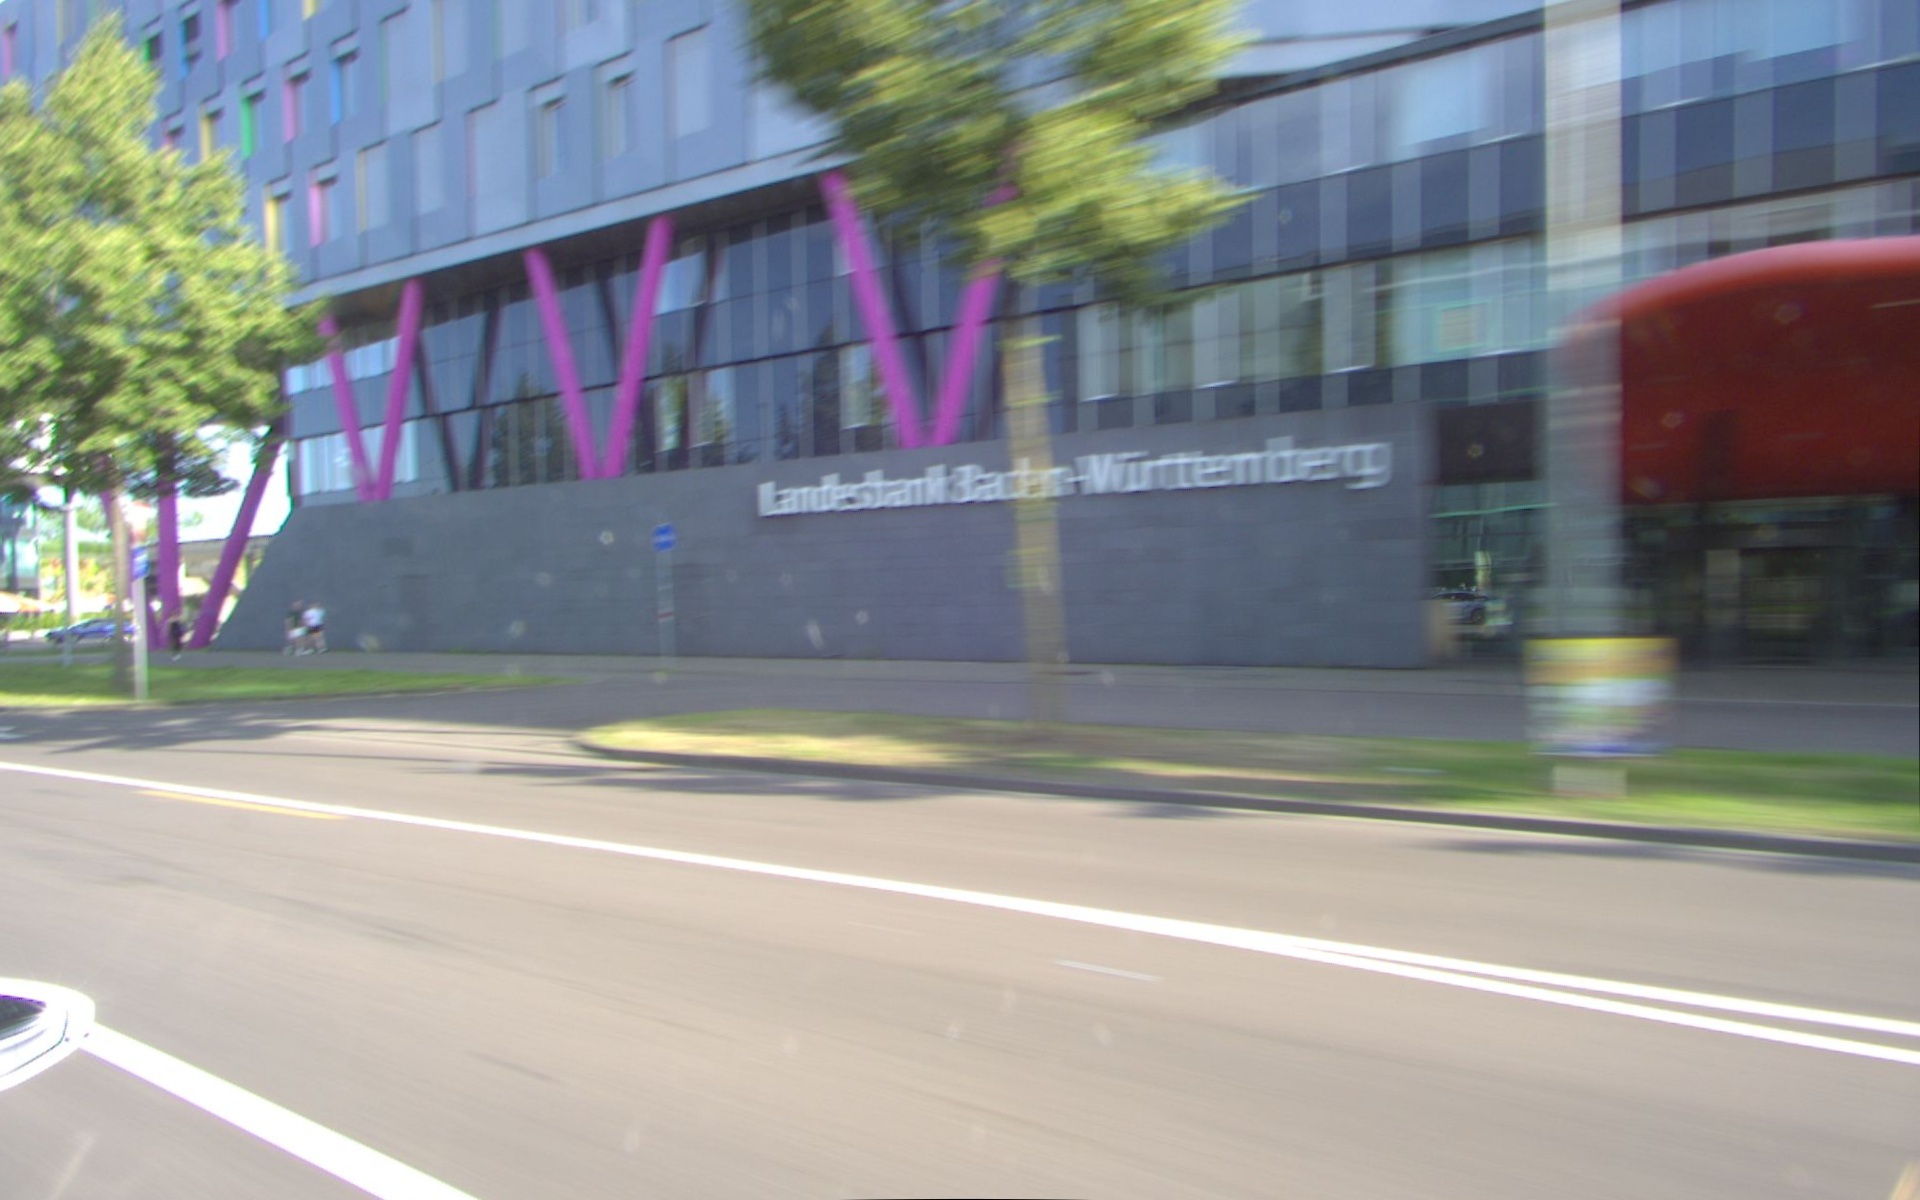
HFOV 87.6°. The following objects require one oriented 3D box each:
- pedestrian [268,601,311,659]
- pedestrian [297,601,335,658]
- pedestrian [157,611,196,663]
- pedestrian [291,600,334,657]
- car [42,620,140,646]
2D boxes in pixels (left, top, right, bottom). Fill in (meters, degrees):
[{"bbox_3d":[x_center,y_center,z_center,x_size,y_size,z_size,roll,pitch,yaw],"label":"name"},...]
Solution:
[{"bbox_3d":[-21.806,0.973,32.589,0.830,1.818,0.753,-1,3,27],"label":"pedestrian"},{"bbox_3d":[-21.347,0.974,33.191,0.774,1.818,0.655,-1,3,27],"label":"pedestrian"},{"bbox_3d":[-25.574,1.196,32.690,0.725,1.661,0.693,-1,2,27],"label":"pedestrian"},{"bbox_3d":[-21.397,0.942,33.097,0.839,1.850,0.767,-1,2,27],"label":"pedestrian"},{"bbox_3d":[-53.886,2.011,62.159,1.830,1.443,4.181,-1,1,27],"label":"car"}]
